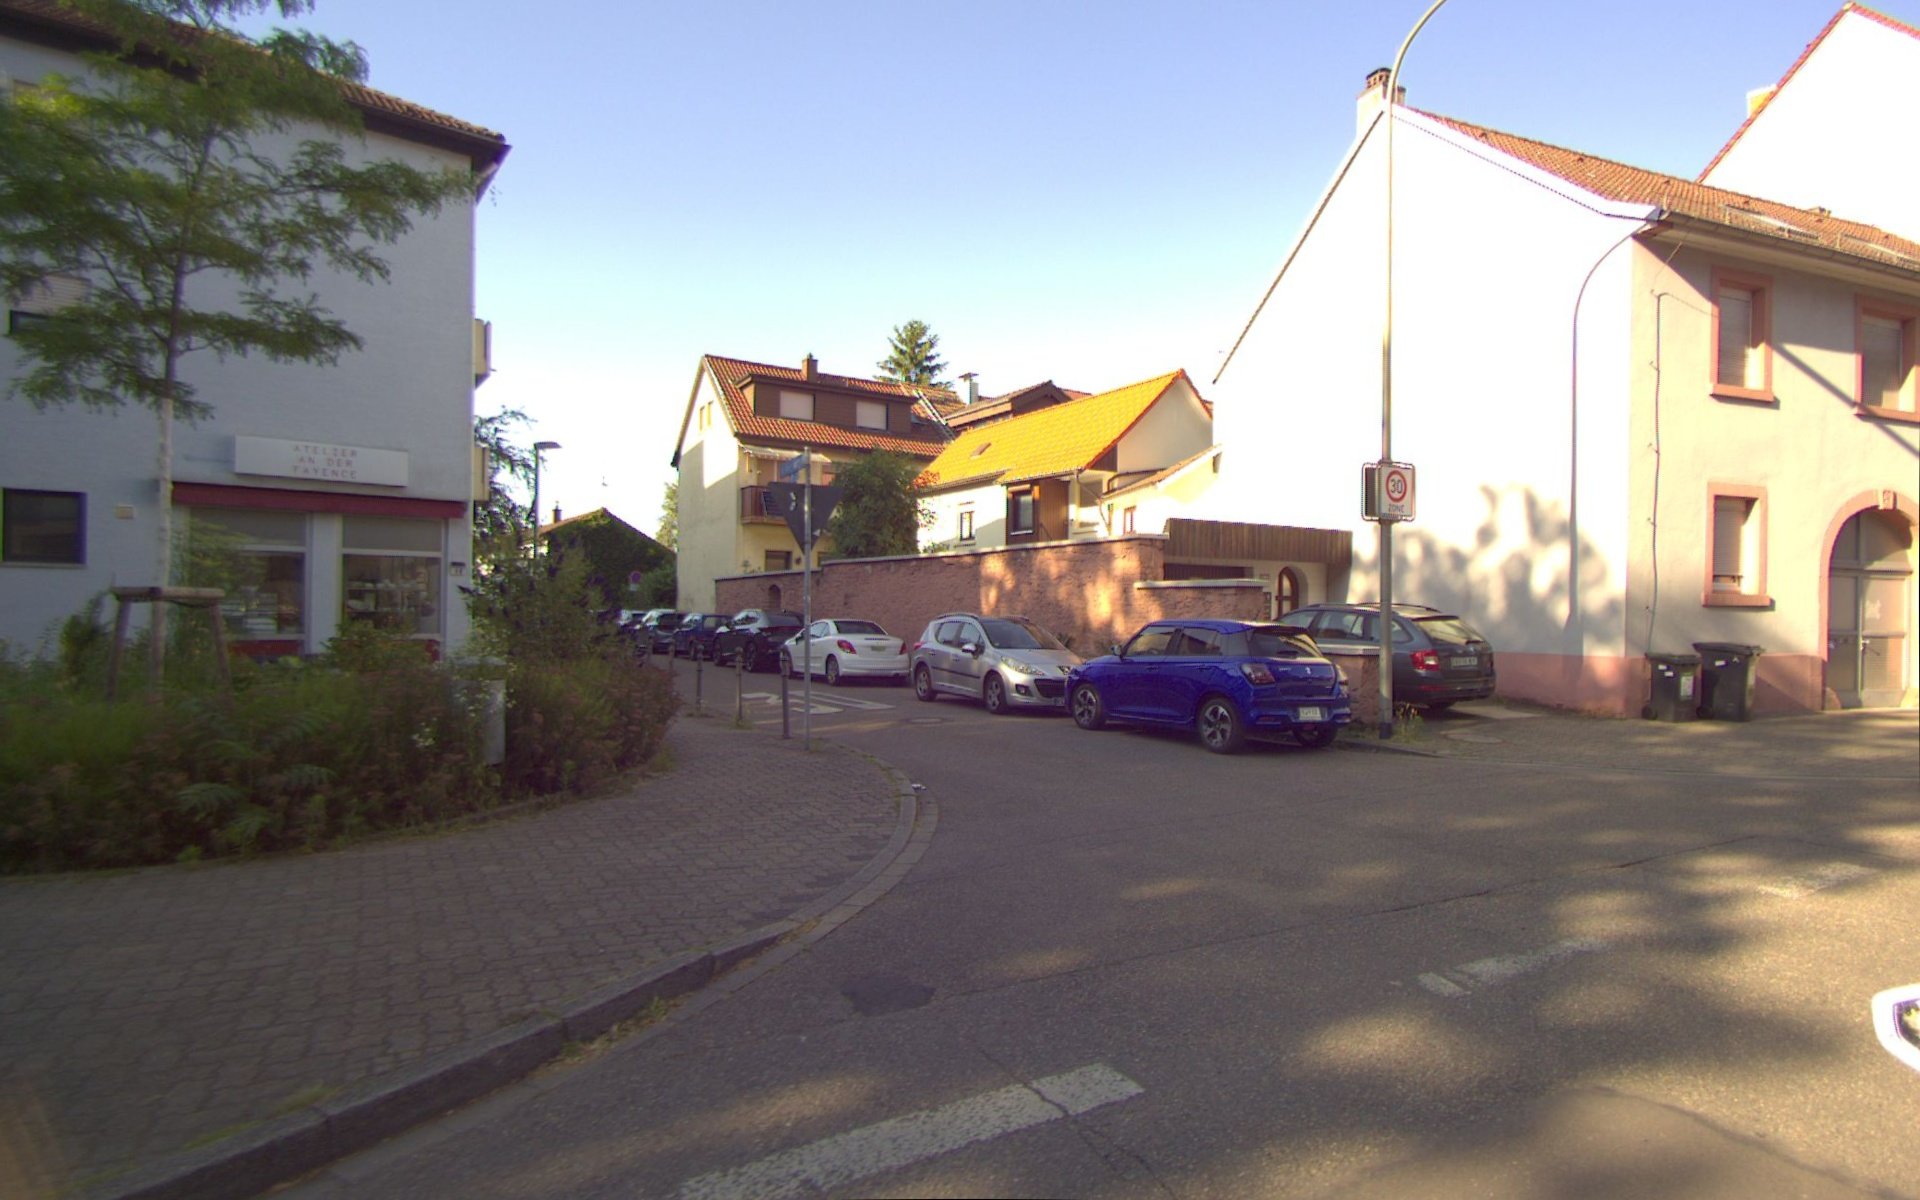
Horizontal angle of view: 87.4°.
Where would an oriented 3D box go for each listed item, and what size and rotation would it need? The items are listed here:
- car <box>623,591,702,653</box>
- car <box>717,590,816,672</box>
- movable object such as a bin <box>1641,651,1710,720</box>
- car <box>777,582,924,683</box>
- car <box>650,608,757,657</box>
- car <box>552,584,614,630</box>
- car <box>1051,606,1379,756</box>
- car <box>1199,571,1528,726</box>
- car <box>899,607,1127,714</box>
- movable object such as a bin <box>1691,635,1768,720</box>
[{"bbox_3d":[-10.425,0.758,35.061,1.548,2.040,3.733,1,-1,-35],"label":"car"},{"bbox_3d":[-4.923,0.746,25.346,1.372,1.910,3.075,2,0,-32],"label":"car"},{"bbox_3d":[9.774,1.158,13.728,0.599,0.884,0.595,1,-1,-32],"label":"movable object such as a bin"},{"bbox_3d":[-2.501,0.652,22.295,1.904,2.040,3.642,0,0,-31],"label":"car"},{"bbox_3d":[-8.105,0.979,31.521,1.980,1.428,3.960,1,-1,-35],"label":"car"},{"bbox_3d":[-17.292,0.339,45.996,1.823,2.040,3.638,1,-1,-35],"label":"car"},{"bbox_3d":[3.004,0.868,12.578,1.976,1.550,3.751,1,0,-29],"label":"car"},{"bbox_3d":[5.804,0.552,15.068,1.963,1.819,4.344,-2,4,-28],"label":"car"},{"bbox_3d":[0.734,0.893,16.553,1.976,1.520,3.970,0,-1,-29],"label":"car"},{"bbox_3d":[10.658,1.052,13.912,0.742,1.108,0.596,1,0,-29],"label":"movable object such as a bin"}]
